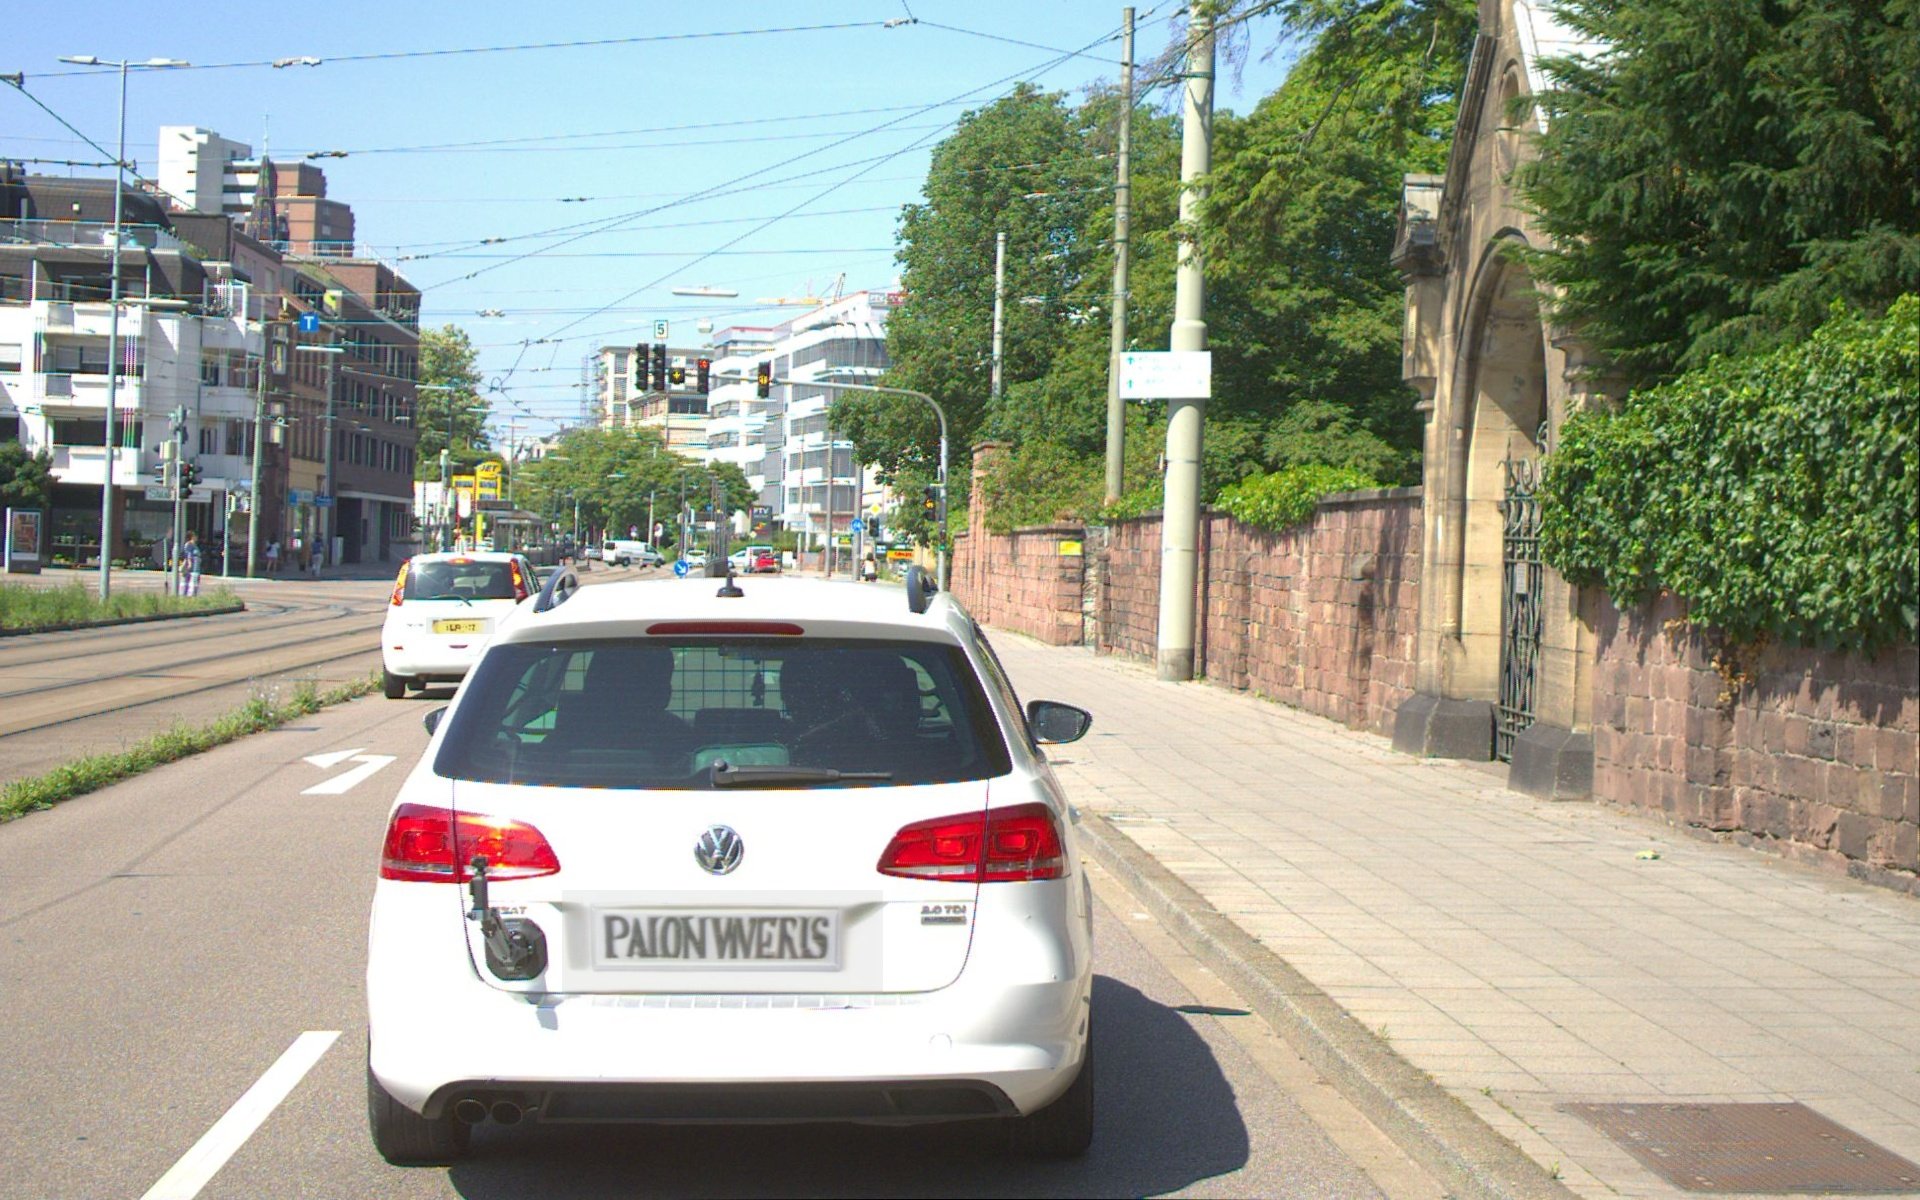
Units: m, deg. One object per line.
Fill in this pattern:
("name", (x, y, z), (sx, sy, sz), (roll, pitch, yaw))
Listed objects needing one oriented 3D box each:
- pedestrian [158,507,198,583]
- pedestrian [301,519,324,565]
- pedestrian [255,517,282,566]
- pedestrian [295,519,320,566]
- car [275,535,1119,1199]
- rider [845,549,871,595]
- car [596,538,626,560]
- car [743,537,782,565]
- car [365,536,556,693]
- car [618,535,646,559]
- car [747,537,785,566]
("pedestrian", (-17.996, -1.267, 79.111), (0.826, 1.733, 0.932), (1, 1, -11))
("pedestrian", (-28.896, -2.591, 153.383), (0.936, 2.007, 0.991), (1, 1, -8))
("pedestrian", (-28.509, -2.401, 141.706), (0.936, 2.007, 0.991), (1, 1, -6))
("pedestrian", (-27.875, -2.461, 146.909), (0.936, 2.007, 0.991), (1, 1, -8))
("car", (-0.642, 0.592, 9.325), (1.778, 1.485, 3.847), (1, 1, -2))
("rider", (-3.879, -1.083, 130.859), (0.891, 1.722, 2.204), (2, 1, -2))
("car", (-26.072, -3.819, 256.853), (1.698, 1.585, 3.536), (1, 1, -13))
("car", (-14.765, -3.647, 256.961), (1.993, 2.007, 4.001), (1, 1, -17))
("car", (-5.409, 0.122, 37.624), (1.730, 1.591, 4.012), (1, 1, -4))
("car", (-21.921, -3.544, 229.805), (1.698, 1.585, 3.535), (1, 1, -4))
("car", (-13.376, -3.327, 236.879), (1.993, 1.897, 4.001), (1, 1, -12))
